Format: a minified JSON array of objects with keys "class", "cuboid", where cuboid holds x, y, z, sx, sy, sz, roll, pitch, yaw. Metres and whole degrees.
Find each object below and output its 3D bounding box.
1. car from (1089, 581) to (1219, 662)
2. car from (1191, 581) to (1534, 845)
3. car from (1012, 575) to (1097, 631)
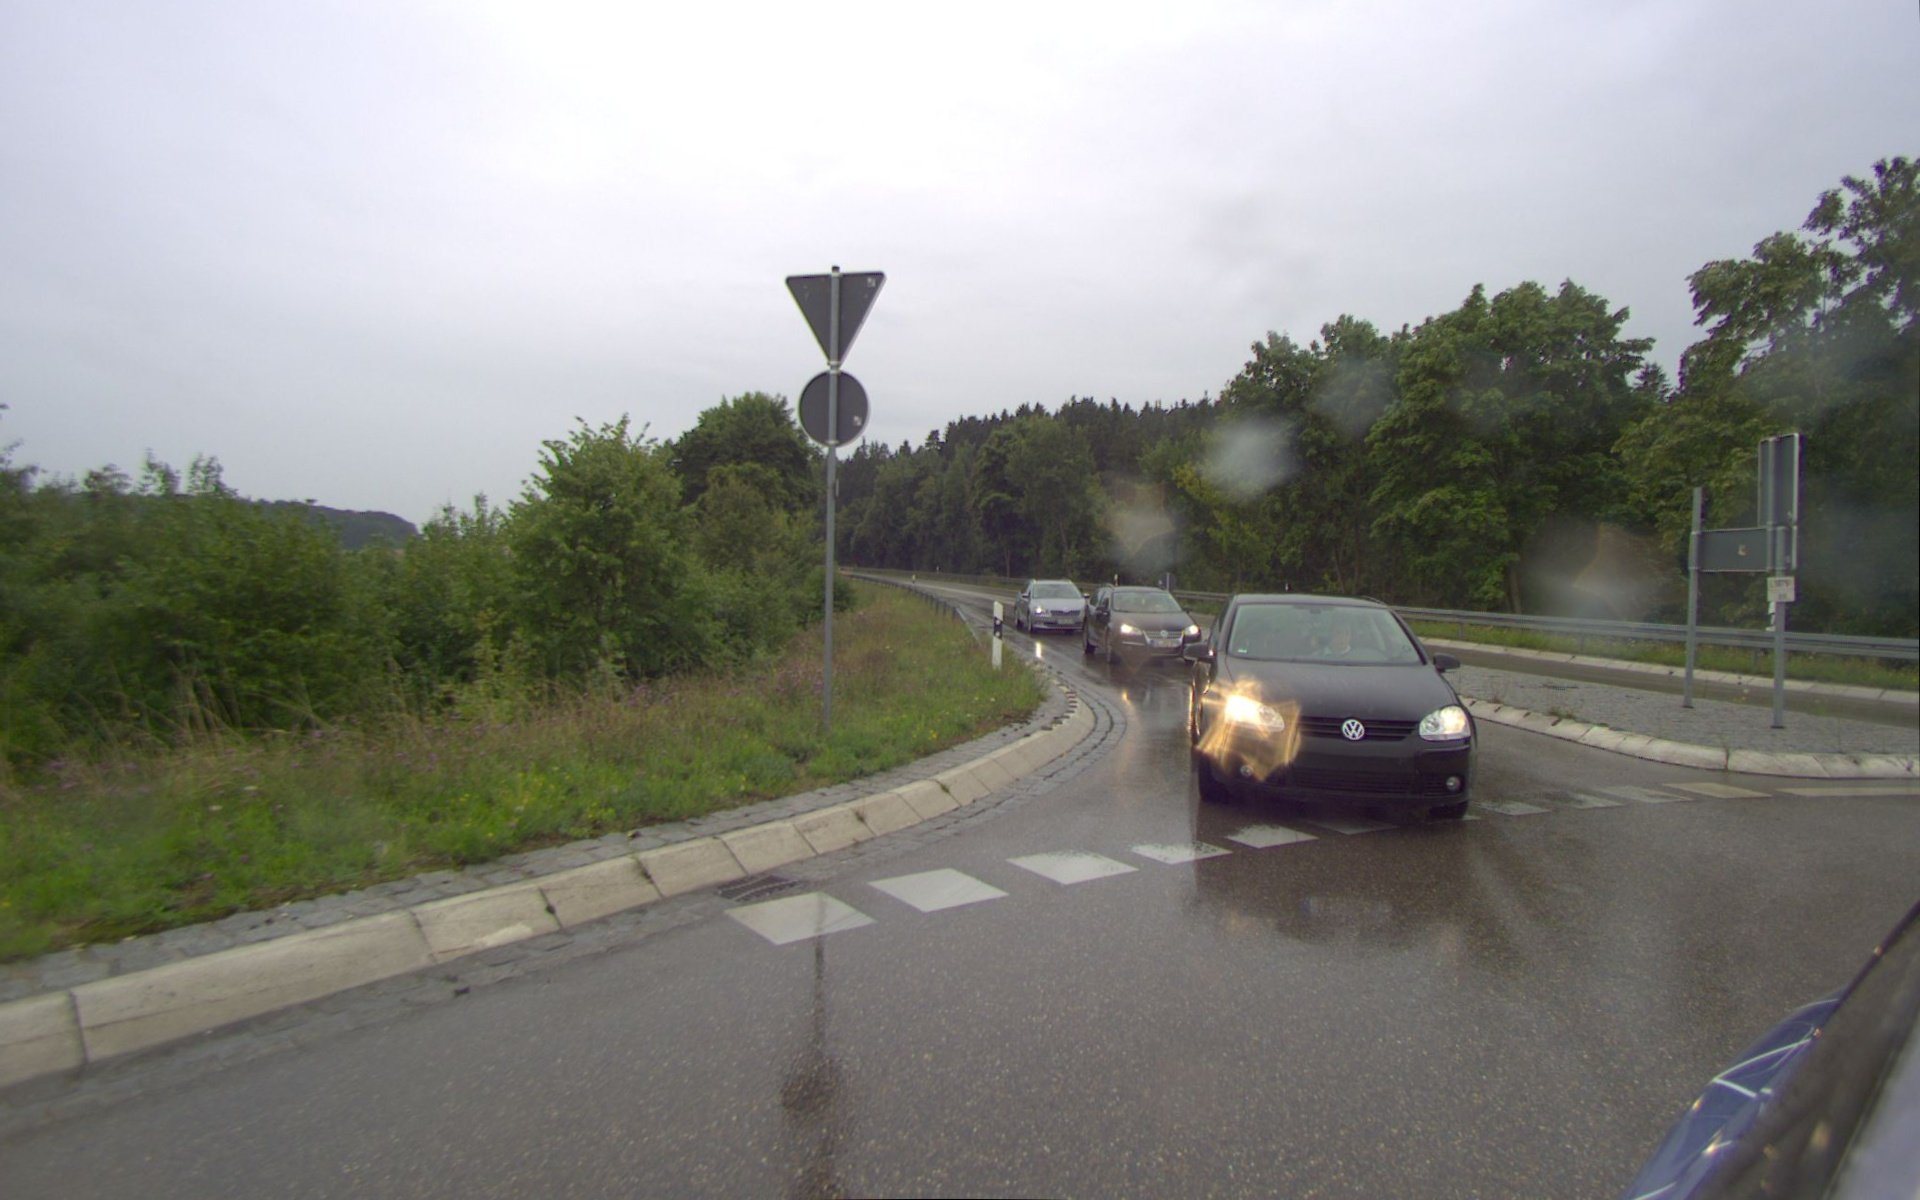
[{"class":"car","cuboid":[3.755,0.355,20.331,1.914,1.388,4.500,2,1,3]},{"class":"car","cuboid":[2.871,0.623,8.129,1.847,1.439,4.483,2,1,14]},{"class":"car","cuboid":[2.637,0.045,29.290,1.729,1.439,4.507,2,1,-3]}]
